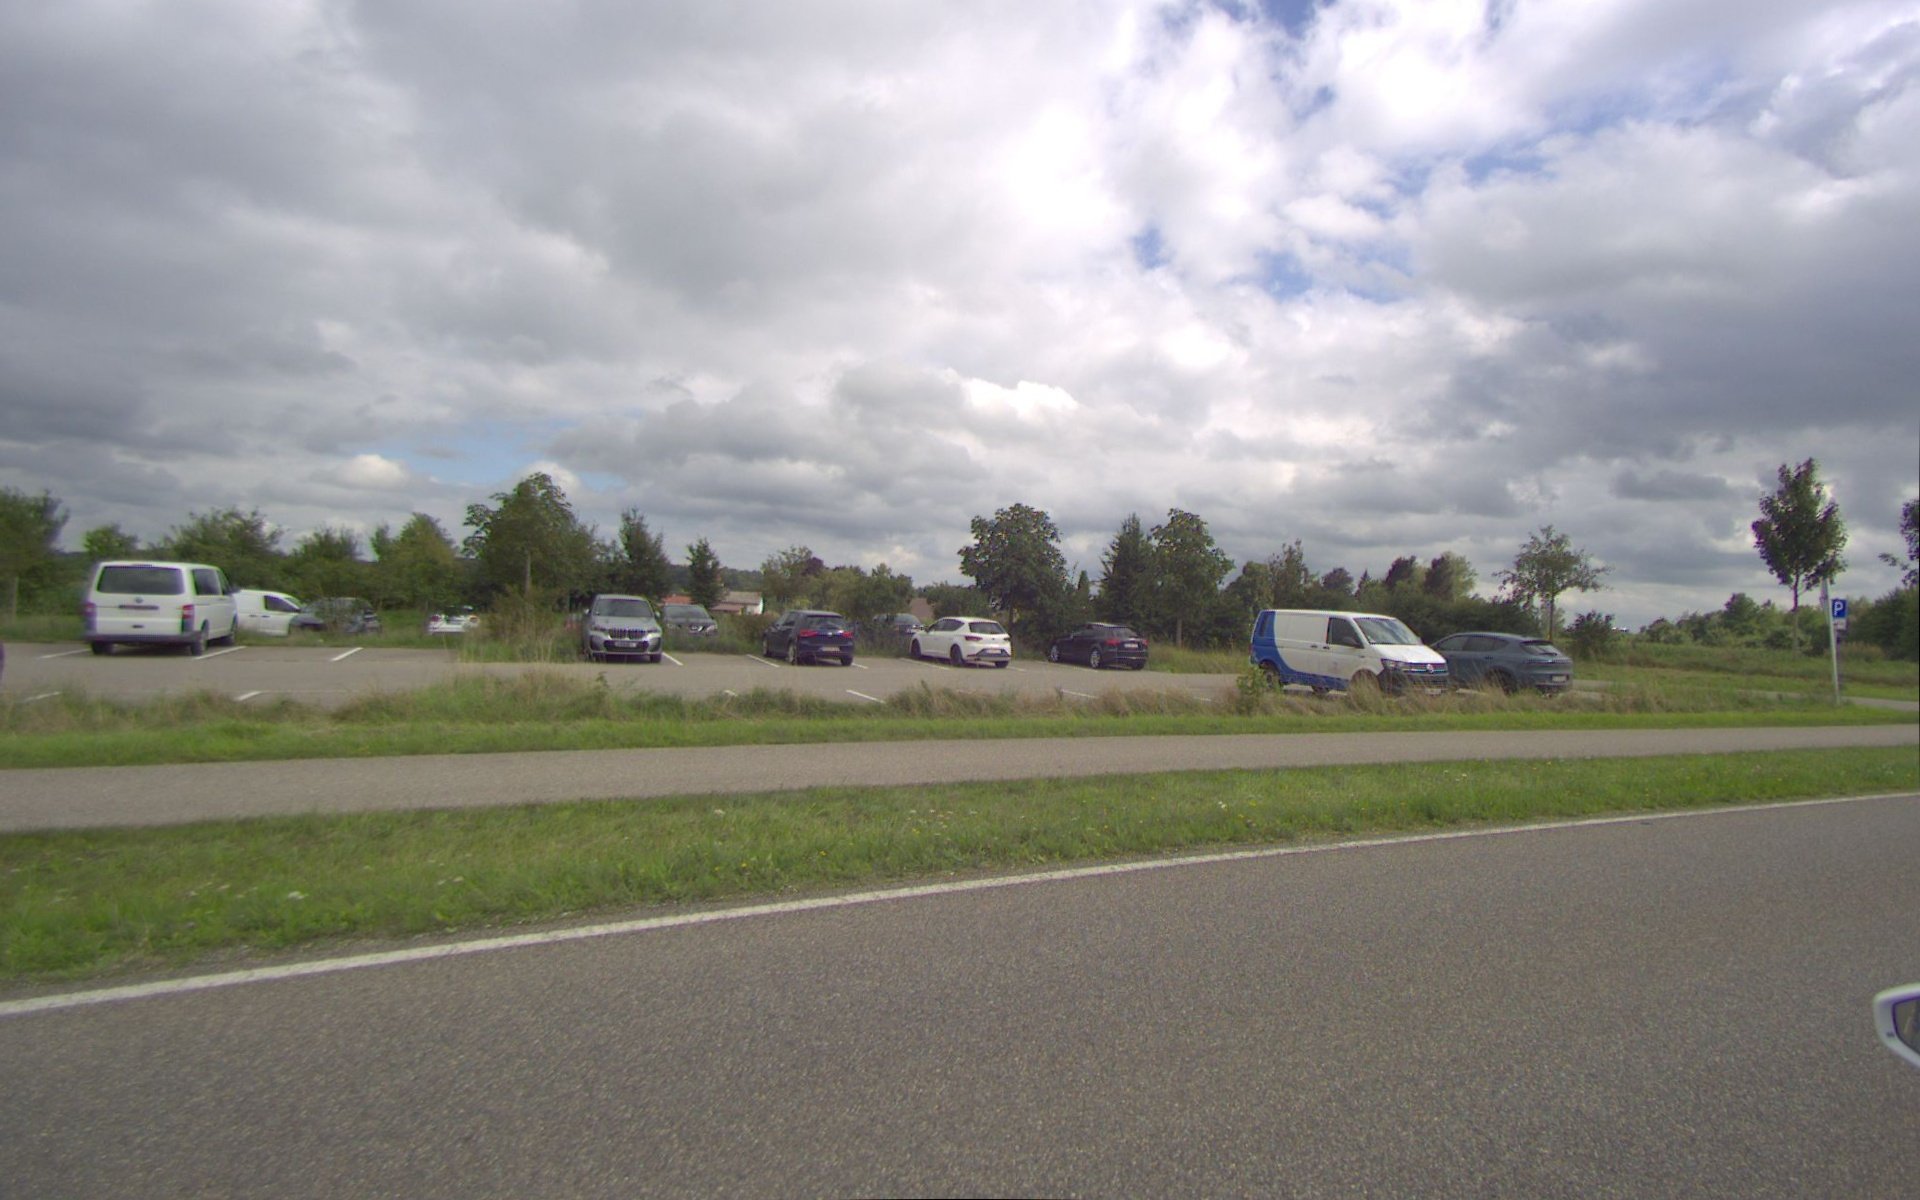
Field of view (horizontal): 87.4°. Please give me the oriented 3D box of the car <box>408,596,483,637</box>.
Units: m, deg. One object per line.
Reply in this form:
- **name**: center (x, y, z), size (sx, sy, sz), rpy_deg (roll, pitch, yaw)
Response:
- **car**: center (-18.827, 0.585, 36.938), size (1.936, 1.392, 3.981), rpy_deg (2, -1, -20)

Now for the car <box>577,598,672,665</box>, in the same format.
- **car**: center (-8.771, 0.769, 26.067), size (1.939, 1.572, 3.976), rpy_deg (2, 0, -24)

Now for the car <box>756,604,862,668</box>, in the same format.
- **car**: center (-4.336, 0.966, 28.391), size (1.939, 1.572, 3.976), rpy_deg (2, 0, -24)

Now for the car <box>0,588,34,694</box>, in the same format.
- **car**: center (-13.409, 0.526, 12.234), size (1.789, 1.435, 4.352), rpy_deg (2, -1, -24)

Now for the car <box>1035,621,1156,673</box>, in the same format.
- **car**: center (4.355, 1.498, 32.825), size (1.821, 1.406, 3.966), rpy_deg (2, 0, -31)

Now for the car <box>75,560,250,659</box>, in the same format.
- **car**: center (-17.777, 0.157, 22.678), size (2.034, 1.951, 4.666), rpy_deg (2, 0, -26)

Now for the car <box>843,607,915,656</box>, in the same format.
- **car**: center (-2.759, 1.069, 35.045), size (1.741, 1.546, 3.796), rpy_deg (2, -1, 7)

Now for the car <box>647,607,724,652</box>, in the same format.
- **car**: center (-8.970, 0.928, 32.662), size (1.753, 1.357, 3.769), rpy_deg (2, -1, -26)

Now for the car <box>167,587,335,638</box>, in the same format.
- **car**: center (-24.961, 0.452, 35.542), size (4.375, 1.644, 1.994), rpy_deg (2, -1, -14)

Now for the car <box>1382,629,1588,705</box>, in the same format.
- **car**: center (12.909, 1.602, 24.987), size (1.972, 1.616, 4.236), rpy_deg (2, -1, -24)

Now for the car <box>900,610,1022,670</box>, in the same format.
- **car**: center (-0.035, 1.187, 30.688), size (1.944, 1.572, 3.966), rpy_deg (2, 0, -31)

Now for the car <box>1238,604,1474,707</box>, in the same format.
- **car**: center (8.721, 1.148, 22.643), size (2.029, 2.040, 4.879), rpy_deg (2, -1, -25)
